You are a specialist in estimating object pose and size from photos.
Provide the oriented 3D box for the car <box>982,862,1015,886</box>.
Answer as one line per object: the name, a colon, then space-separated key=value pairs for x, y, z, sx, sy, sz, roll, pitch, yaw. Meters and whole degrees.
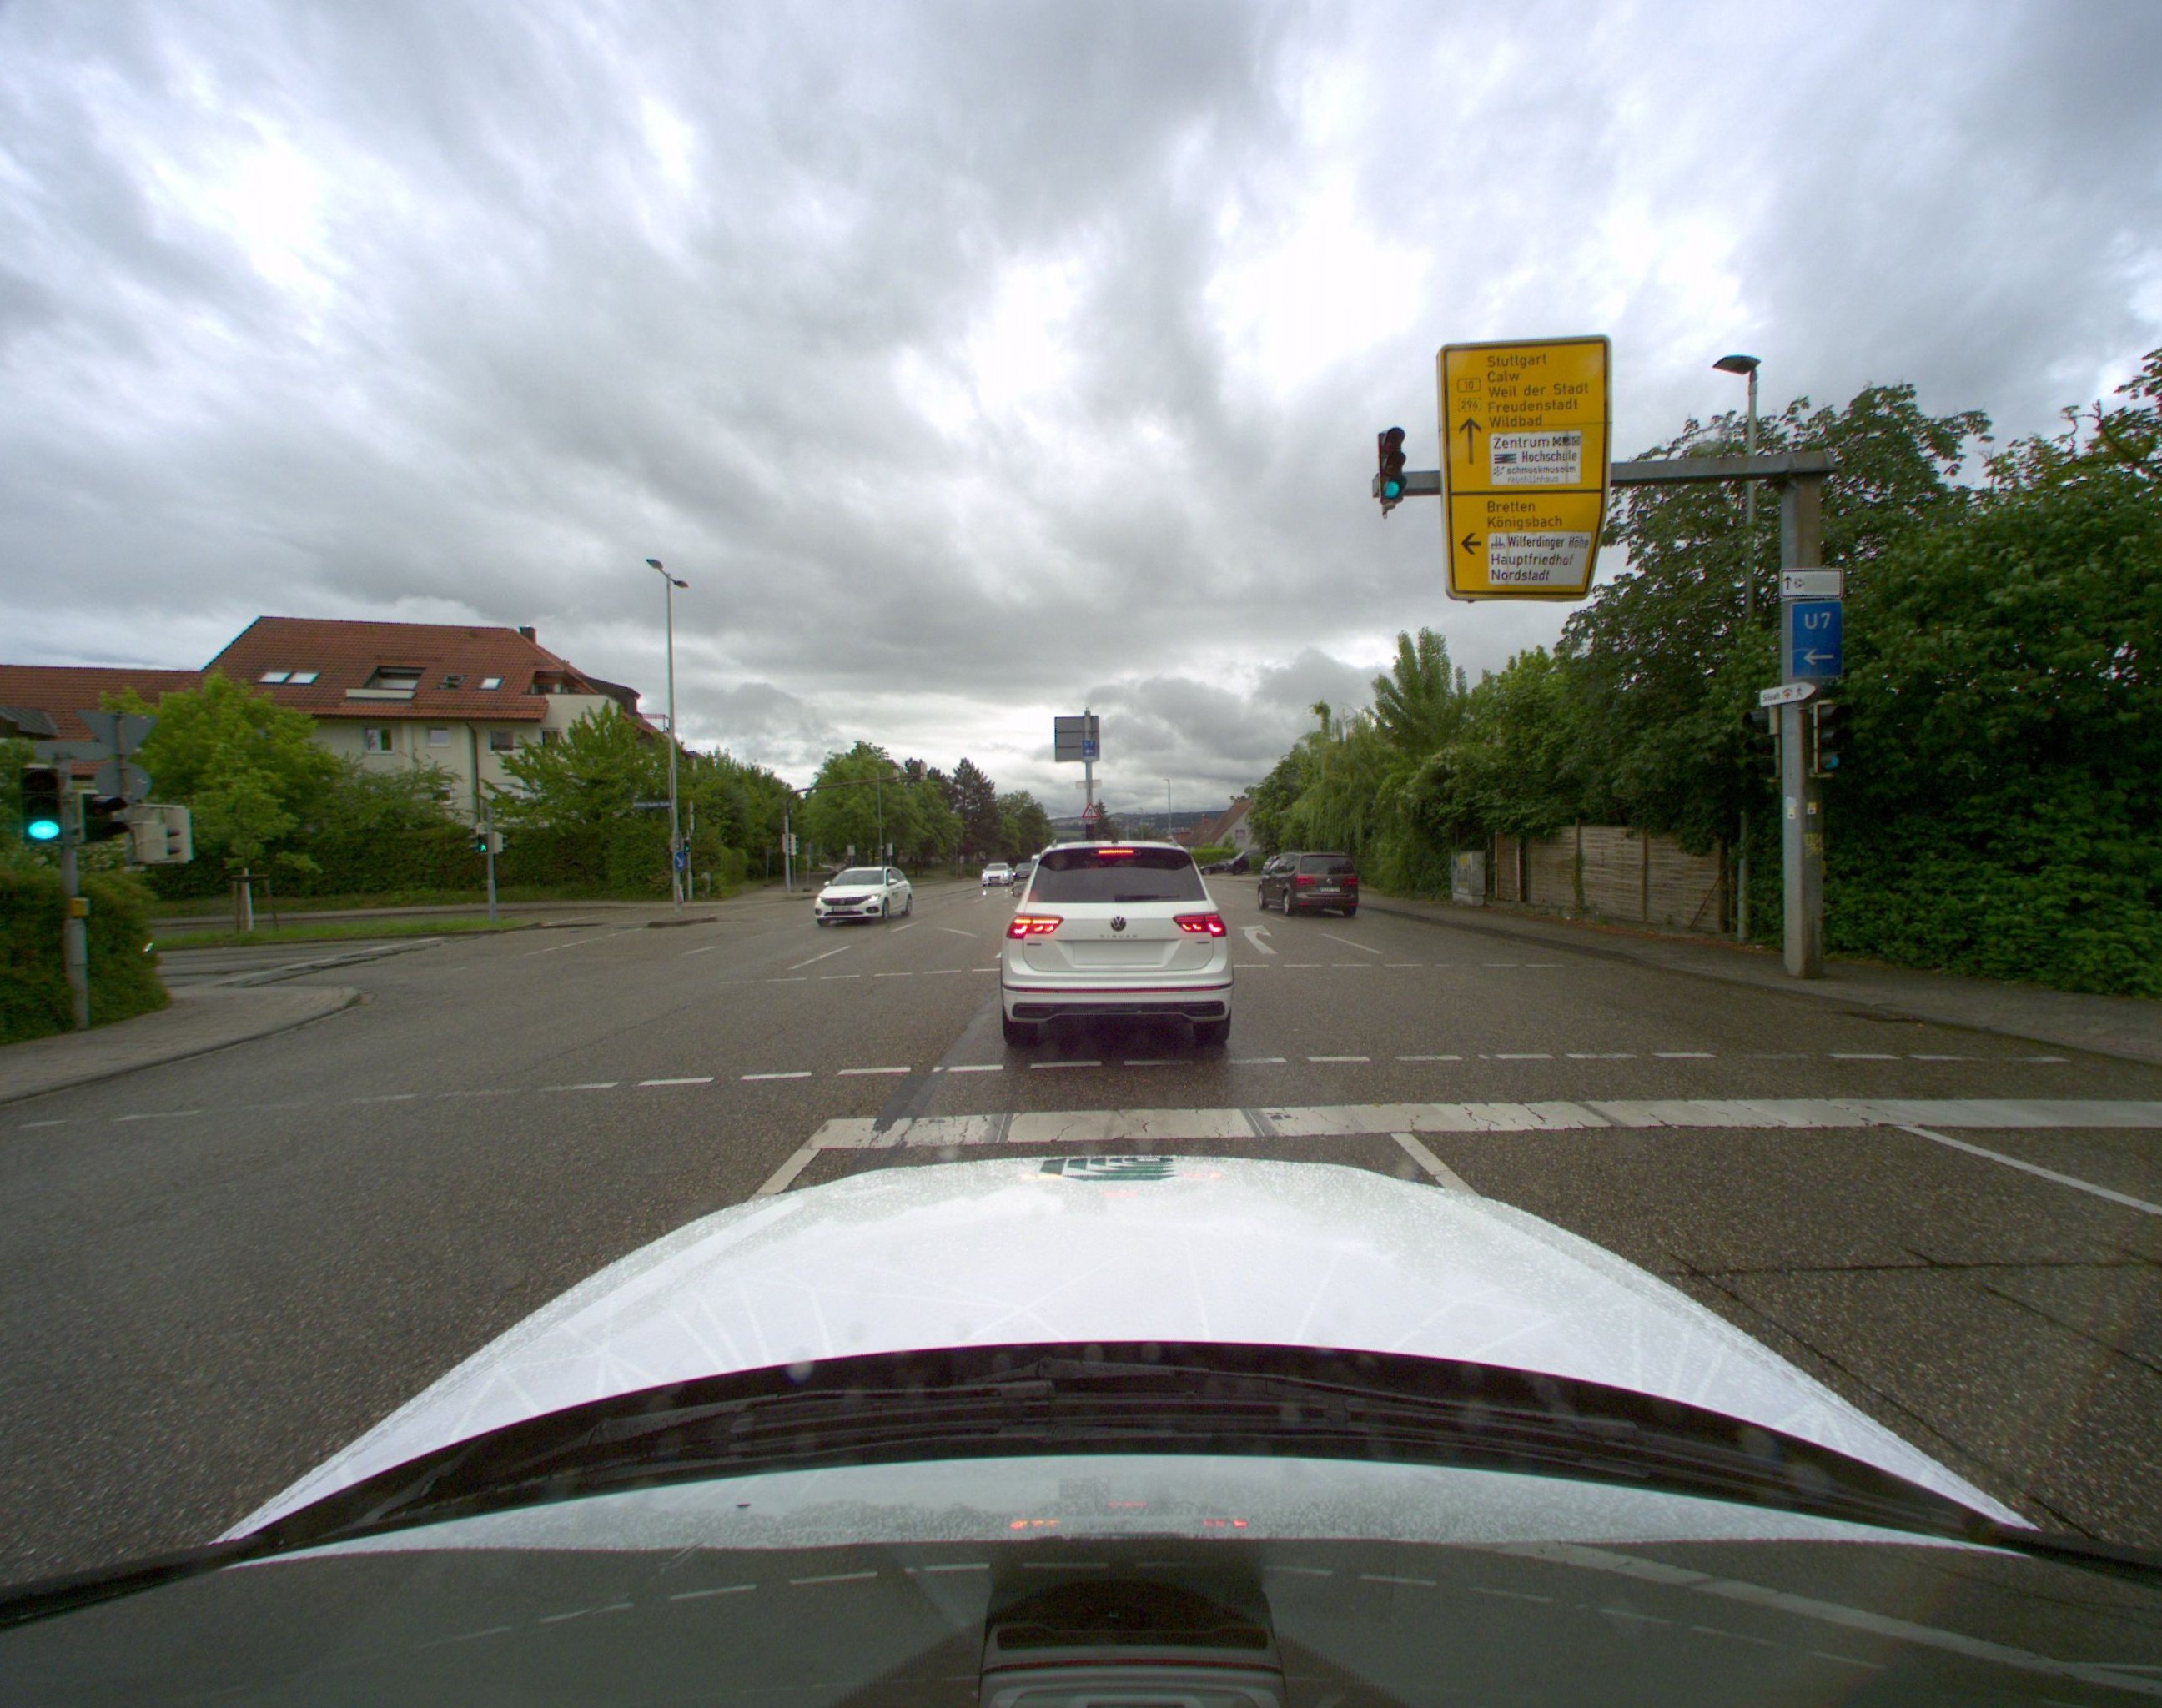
car: x=-5.324 y=1.262 z=52.786 sx=1.740 sy=1.397 sz=3.801 roll=-1 pitch=0 yaw=0

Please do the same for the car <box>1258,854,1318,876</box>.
car: x=14.377 y=0.744 z=56.638 sx=3.708 sy=1.395 sz=1.725 roll=-2 pitch=-1 yaw=-6

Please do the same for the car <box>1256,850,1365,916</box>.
car: x=5.914 y=0.696 z=21.486 sx=1.730 sy=1.575 sz=4.067 roll=0 pitch=0 yaw=0

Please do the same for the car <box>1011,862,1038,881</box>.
car: x=-4.694 y=1.434 z=68.341 sx=1.770 sy=1.502 sz=4.472 roll=-2 pitch=0 yaw=1

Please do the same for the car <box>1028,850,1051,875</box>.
car: x=-4.509 y=0.899 z=89.412 sx=2.290 sy=2.528 sz=5.772 roll=-1 pitch=0 yaw=0

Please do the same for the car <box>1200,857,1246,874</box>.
car: x=12.080 y=0.981 z=69.279 sx=3.675 sy=1.370 sz=1.518 roll=0 pitch=-2 yaw=0

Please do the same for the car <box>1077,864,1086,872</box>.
car: x=0.074 y=3.023 z=182.429 sx=1.986 sy=1.728 sz=4.001 roll=1 pitch=-1 yaw=2

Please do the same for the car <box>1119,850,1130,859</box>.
car: x=7.773 y=0.140 z=146.013 sx=1.843 sy=1.574 sz=4.002 roll=-2 pitch=0 yaw=2

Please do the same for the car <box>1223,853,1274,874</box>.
car: x=13.229 y=0.754 z=64.470 sx=3.618 sy=1.626 sz=1.790 roll=0 pitch=0 yaw=-3

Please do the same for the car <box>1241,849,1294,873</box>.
car: x=14.186 y=0.561 z=62.031 sx=3.618 sy=1.747 sz=1.706 roll=-1 pitch=-2 yaw=-2

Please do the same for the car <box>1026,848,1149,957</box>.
car: x=0.171 y=0.721 z=13.964 sx=1.791 sy=1.589 sz=3.928 roll=-1 pitch=0 yaw=2

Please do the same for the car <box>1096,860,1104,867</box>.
car: x=4.739 y=2.239 z=200.590 sx=1.843 sy=1.574 sz=4.002 roll=-2 pitch=0 yaw=2

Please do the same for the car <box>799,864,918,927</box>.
car: x=-5.989 y=1.070 z=22.505 sx=1.960 sy=1.454 sz=4.309 roll=-2 pitch=0 yaw=1

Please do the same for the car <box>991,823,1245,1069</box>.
car: x=0.304 y=0.645 z=7.842 sx=1.756 sy=1.696 sz=4.273 roll=1 pitch=0 yaw=1

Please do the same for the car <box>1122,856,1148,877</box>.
car: x=3.904 y=0.861 z=59.202 sx=1.675 sy=1.460 sz=3.802 roll=0 pitch=0 yaw=1

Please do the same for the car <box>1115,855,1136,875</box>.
car: x=4.006 y=1.004 z=74.235 sx=1.706 sy=1.758 sz=3.802 roll=-1 pitch=0 yaw=1
